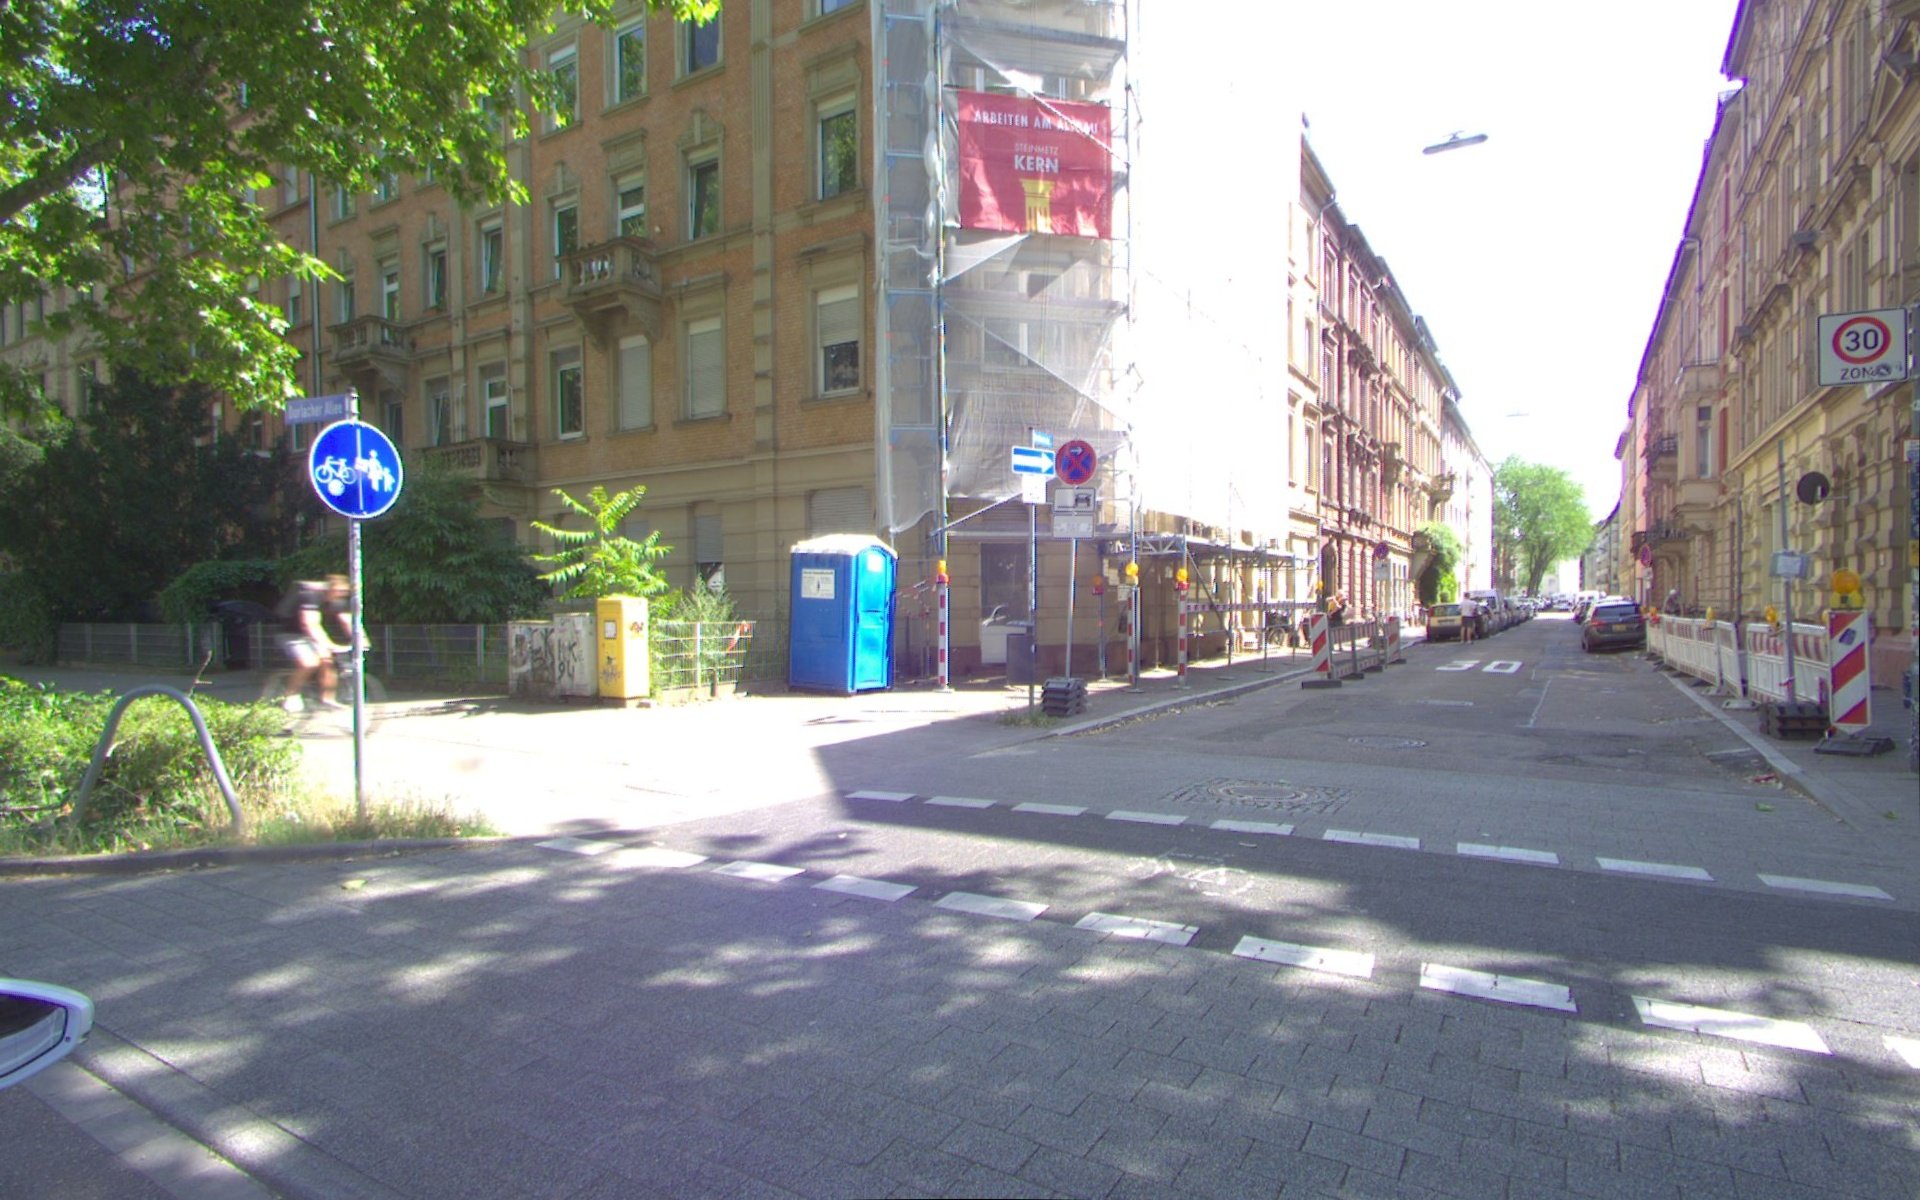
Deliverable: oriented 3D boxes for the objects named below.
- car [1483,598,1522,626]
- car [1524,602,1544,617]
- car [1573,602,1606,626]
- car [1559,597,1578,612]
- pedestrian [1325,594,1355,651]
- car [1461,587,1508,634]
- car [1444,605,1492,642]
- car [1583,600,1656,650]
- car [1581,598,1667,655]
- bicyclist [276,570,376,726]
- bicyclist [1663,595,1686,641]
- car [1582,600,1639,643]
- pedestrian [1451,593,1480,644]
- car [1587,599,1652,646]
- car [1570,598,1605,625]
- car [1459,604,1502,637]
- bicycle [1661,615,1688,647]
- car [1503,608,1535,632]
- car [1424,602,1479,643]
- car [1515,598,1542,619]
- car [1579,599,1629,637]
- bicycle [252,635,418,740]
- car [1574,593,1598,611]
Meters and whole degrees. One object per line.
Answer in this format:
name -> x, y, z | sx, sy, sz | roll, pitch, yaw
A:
car -> 34.399, 0.750, 63.490 | 1.886, 1.732, 4.139 | 0, 0, 33
car -> 58.271, 0.964, 101.663 | 1.646, 1.420, 3.343 | 0, 0, 32
car -> 47.131, 1.027, 75.021 | 1.971, 1.762, 3.979 | 0, 0, 31
car -> 75.720, 0.551, 124.645 | 1.971, 1.762, 3.979 | 0, 0, 31
pedestrian -> 11.855, 0.684, 31.255 | 0.843, 1.748, 0.834 | 0, 0, 19
car -> 28.238, 0.543, 53.865 | 1.886, 2.405, 4.224 | 0, 0, 33
car -> 22.583, 1.007, 44.433 | 1.702, 1.549, 3.478 | 0, 0, 30
car -> 23.032, 0.824, 35.095 | 1.971, 1.661, 3.979 | 0, 0, 31
car -> 19.703, 0.749, 29.873 | 1.971, 1.572, 3.979 | 0, 0, 31
bicyclist -> -6.960, 0.509, 11.006 | 0.683, 1.645, 0.623 | 0, 1, 22
bicyclist -> 22.746, 0.573, 31.886 | 0.525, 1.472, 0.459 | 0, 1, 29
car -> 28.478, 0.904, 43.925 | 1.971, 1.762, 3.979 | 0, 0, 31
pedestrian -> 18.132, 0.653, 35.901 | 0.922, 1.822, 1.034 | 0, 1, 29
car -> 25.701, 0.835, 39.133 | 1.971, 1.762, 3.979 | 0, 0, 31
car -> 43.013, 0.783, 68.725 | 1.971, 1.762, 3.979 | 0, 0, 31
car -> 25.758, 1.003, 49.487 | 1.702, 1.549, 3.478 | 0, 0, 30
bicycle -> 22.719, 0.983, 31.838 | 0.530, 0.991, 1.304 | 0, 0, 28
car -> 42.329, 1.457, 75.786 | 1.886, 1.732, 4.139 | 0, 0, 33
car -> 19.542, 0.868, 39.778 | 1.702, 1.549, 3.478 | 0, 0, 30
car -> 48.070, 0.726, 84.640 | 1.886, 1.732, 4.140 | 0, 0, 32
car -> 31.753, 0.850, 49.473 | 1.971, 1.762, 3.979 | 0, 0, 31
bicycle -> -6.859, 0.928, 10.976 | 1.893, 1.063, 0.531 | -1, 1, 23
car -> 63.490, 0.196, 101.576 | 1.971, 1.762, 3.979 | 0, 0, 31
